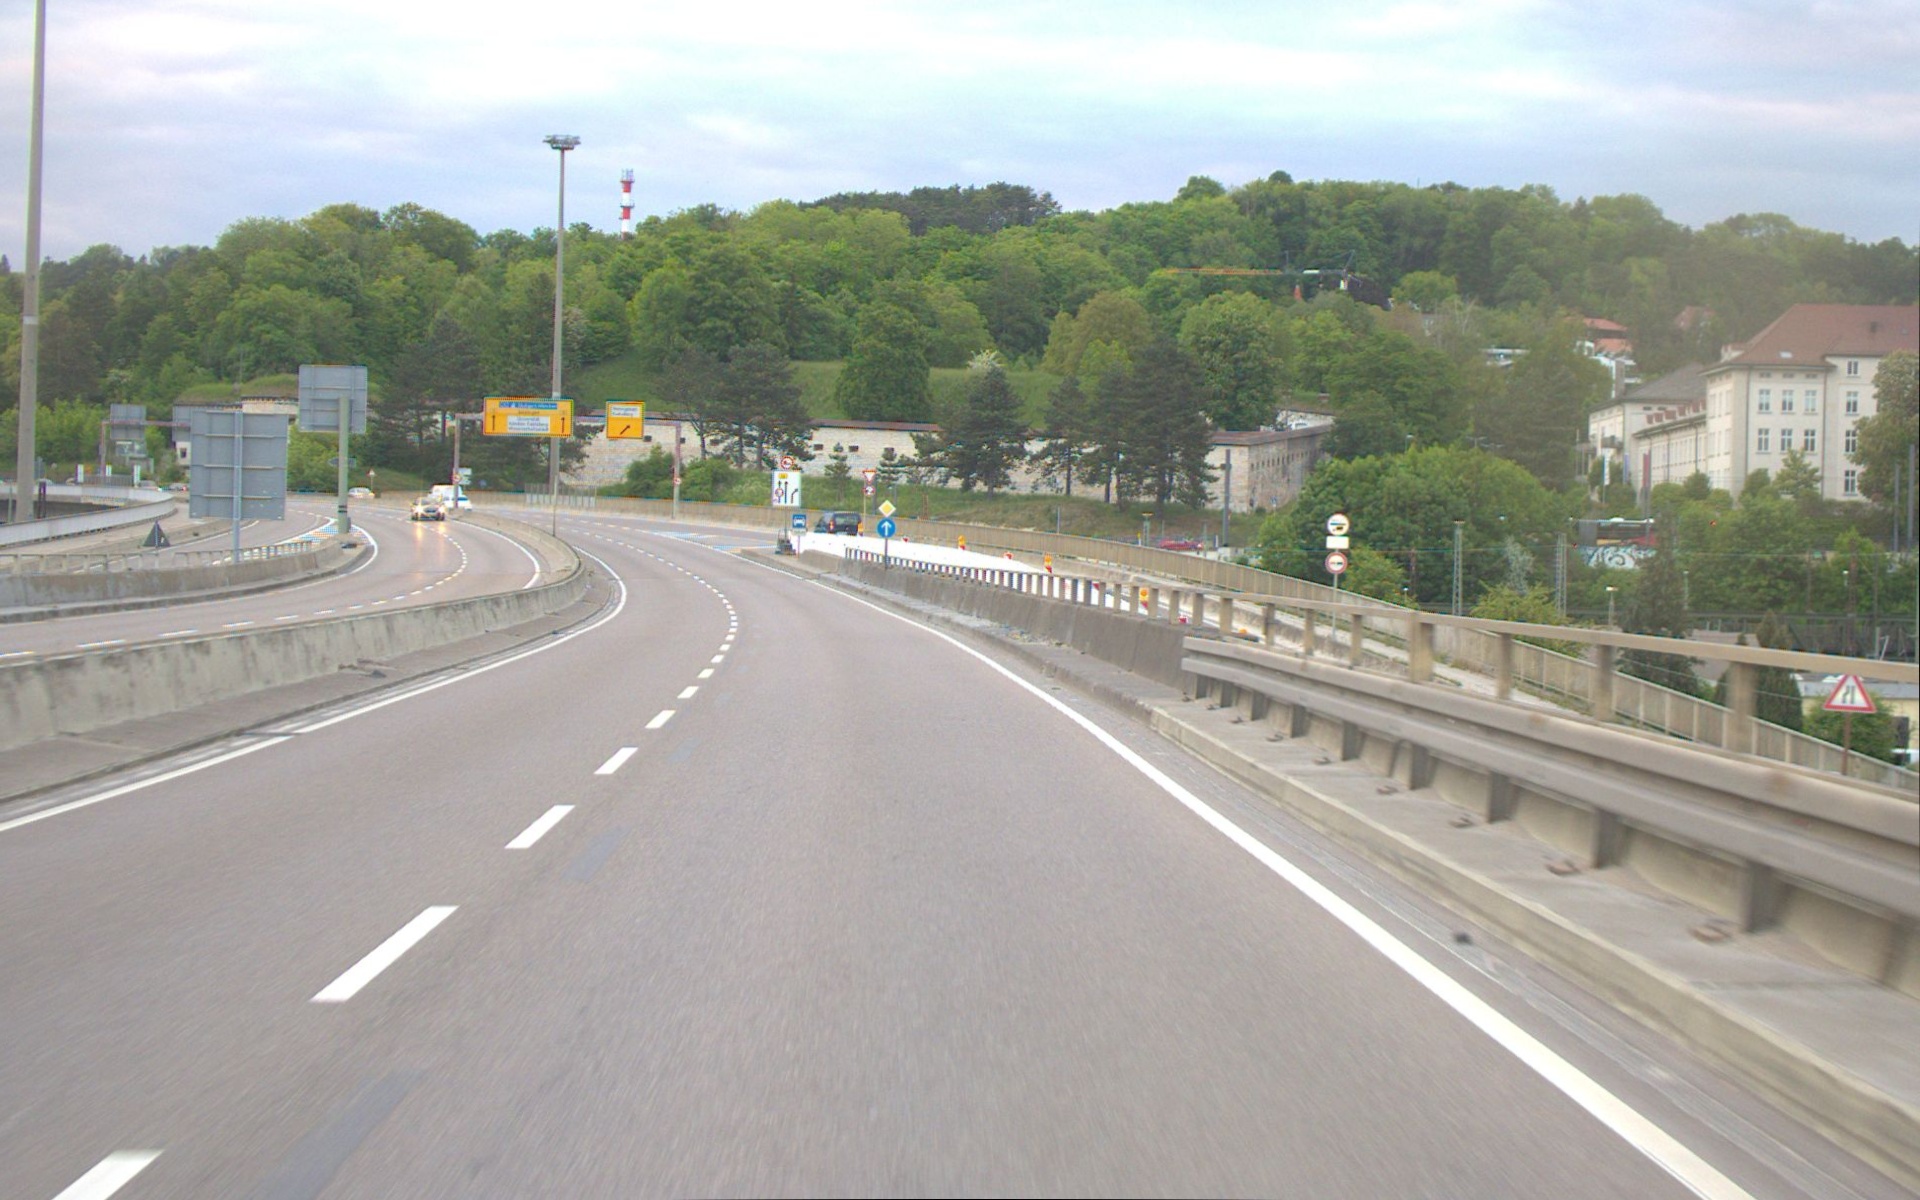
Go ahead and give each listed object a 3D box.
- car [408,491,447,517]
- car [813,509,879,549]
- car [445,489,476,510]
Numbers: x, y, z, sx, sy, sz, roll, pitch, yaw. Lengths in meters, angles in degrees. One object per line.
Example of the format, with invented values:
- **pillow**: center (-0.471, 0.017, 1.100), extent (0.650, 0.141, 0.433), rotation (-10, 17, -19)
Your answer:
- **car**: center (-32.765, -5.894, 211.464), extent (1.828, 1.475, 4.288), rotation (1, 1, -16)
- **car**: center (-5.557, -3.471, 167.295), extent (2.304, 1.757, 4.264), rotation (2, 2, -14)
- **car**: center (-35.021, -7.042, 240.863), extent (1.630, 1.383, 4.002), rotation (0, 3, -16)
